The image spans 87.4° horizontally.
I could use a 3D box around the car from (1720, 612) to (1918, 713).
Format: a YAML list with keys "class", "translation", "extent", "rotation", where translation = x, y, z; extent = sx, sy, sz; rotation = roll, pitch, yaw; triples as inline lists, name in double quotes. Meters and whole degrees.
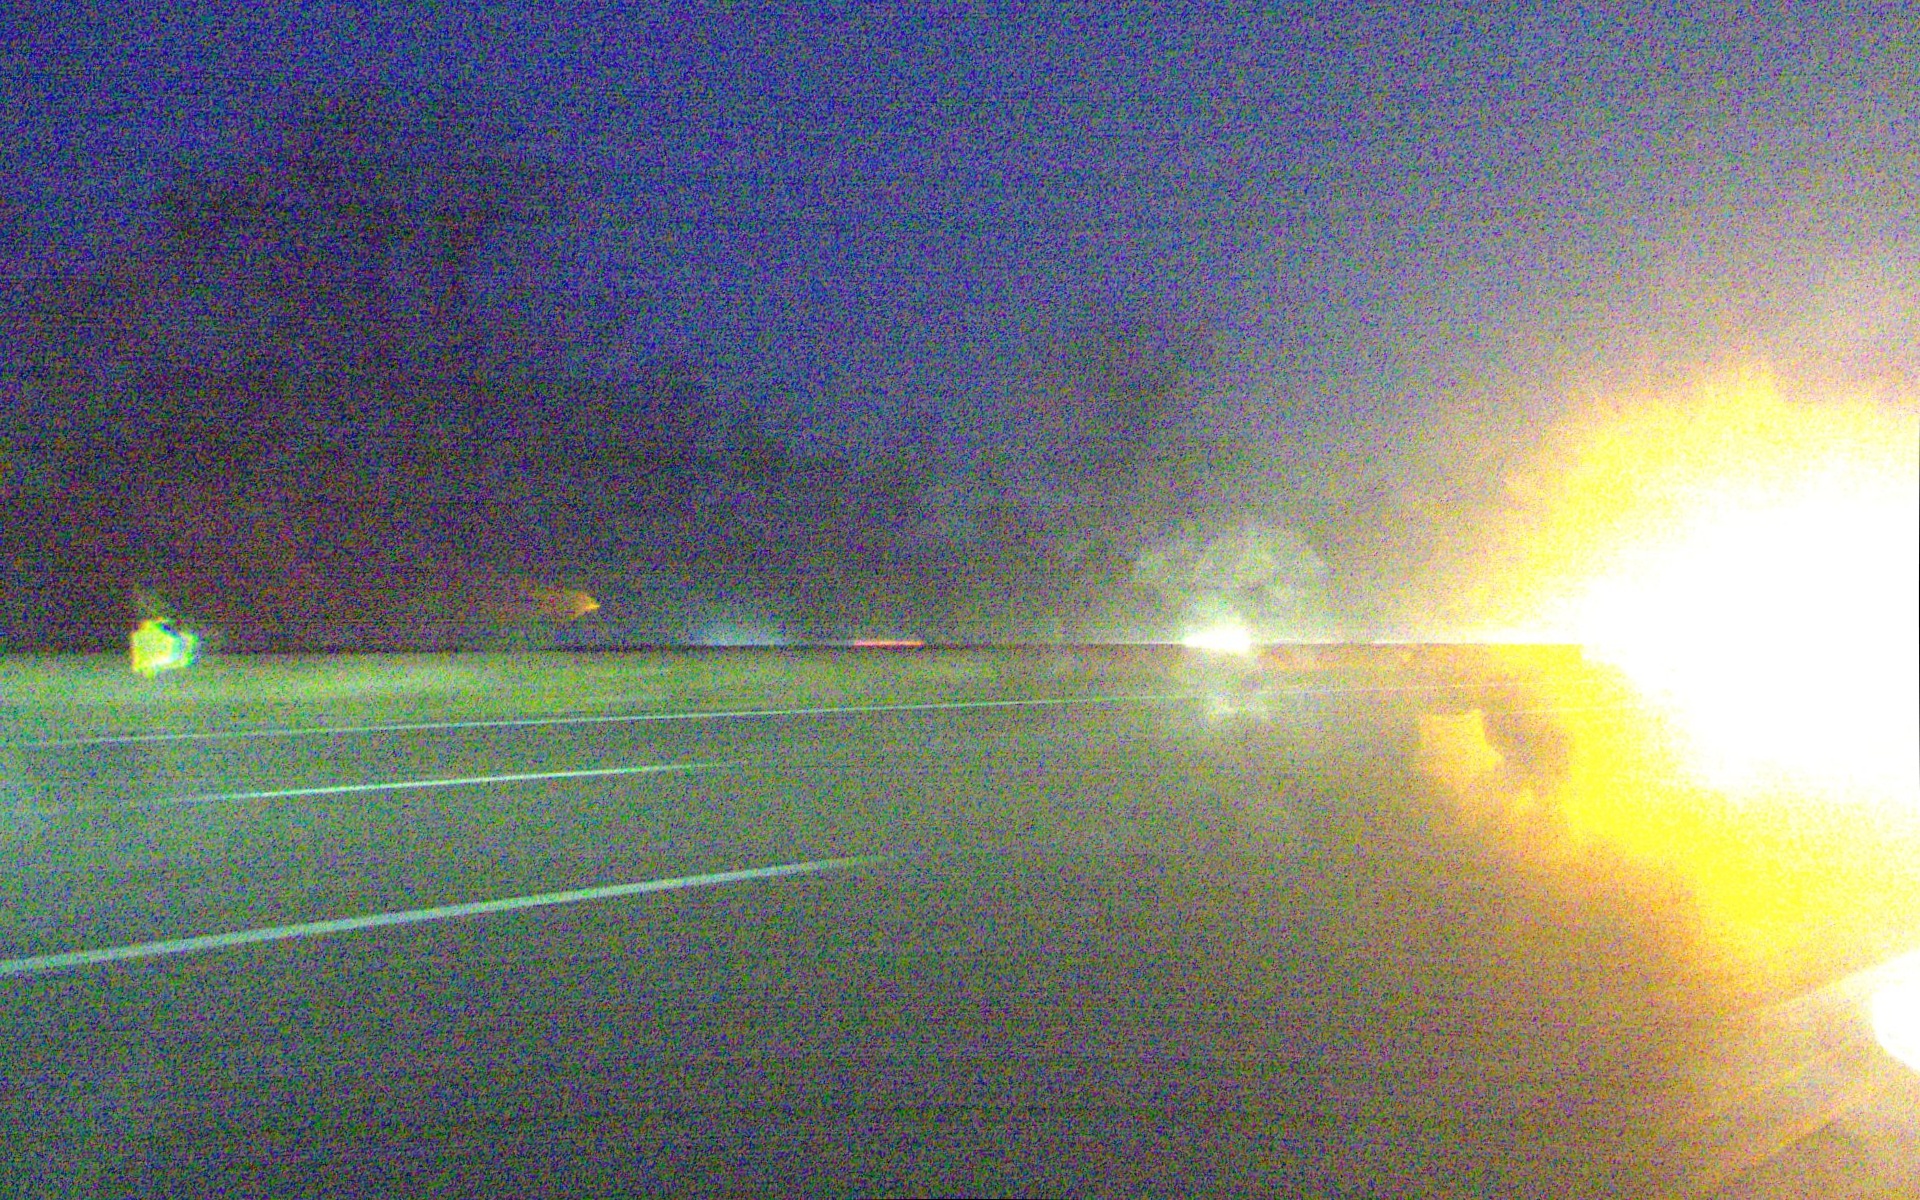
- class: "car"
  translation: [15.950, 1.096, 18.602]
  extent: [3.963, 1.617, 1.979]
  rotation: [2, 0, -37]

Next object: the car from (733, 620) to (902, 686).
- class: "car"
  translation: [-4.122, 1.519, 29.303]
  extent: [4.515, 1.744, 1.869]
  rotation: [2, 0, -33]
